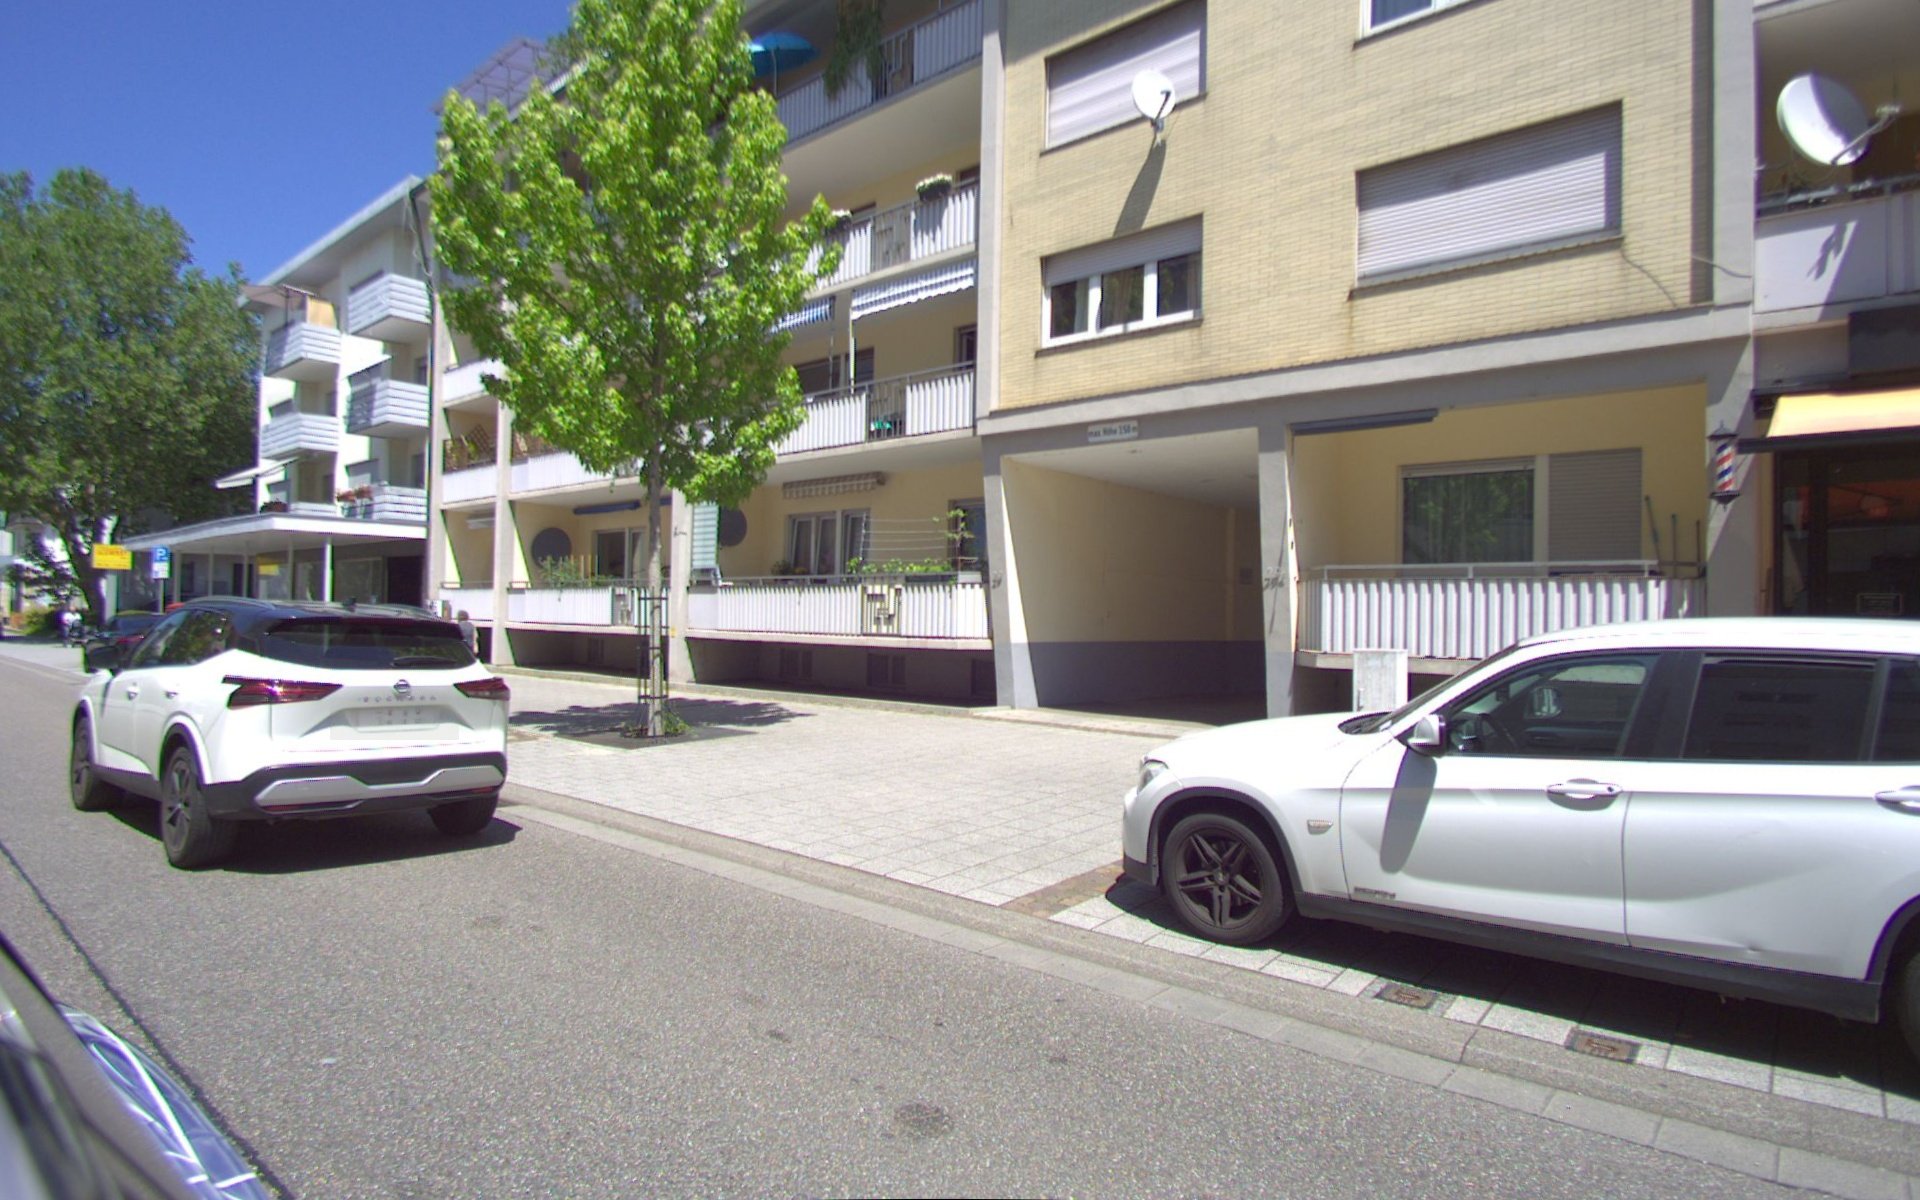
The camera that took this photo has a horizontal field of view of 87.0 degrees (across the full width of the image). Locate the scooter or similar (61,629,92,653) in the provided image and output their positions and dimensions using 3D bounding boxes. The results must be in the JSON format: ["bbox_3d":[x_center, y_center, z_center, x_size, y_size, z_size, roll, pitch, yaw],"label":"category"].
[{"bbox_3d":[-34.902,1.611,39.972,0.737,0.932,0.635,0,-2,18],"label":"scooter or similar"}]

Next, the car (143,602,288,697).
[{"bbox_3d":[-14.594,0.902,19.786,3.369,1.674,1.623,-1,0,41],"label":"car"}]

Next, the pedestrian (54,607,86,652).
[{"bbox_3d":[-35.618,1.178,40.495,0.737,1.806,0.635,0,-2,18],"label":"pedestrian"}]

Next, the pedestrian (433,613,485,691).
[{"bbox_3d":[-10.036,1.028,20.273,0.767,1.510,0.698,2,-3,-38],"label":"pedestrian"}]

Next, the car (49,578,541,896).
[{"bbox_3d":[-4.976,0.782,7.323,4.296,1.645,1.753,-1,-4,40],"label":"car"}]

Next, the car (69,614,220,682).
[{"bbox_3d":[-19.328,1.071,23.950,3.995,1.475,1.974,-1,-1,39],"label":"car"}]

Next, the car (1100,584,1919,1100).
[{"bbox_3d":[2.876,0.757,4.361,4.298,1.604,1.677,-1,0,42],"label":"car"}]

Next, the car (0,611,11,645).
[{"bbox_3d":[-43.996,1.238,45.166,3.998,1.519,1.972,-1,-2,41],"label":"car"}]

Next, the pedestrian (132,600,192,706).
[{"bbox_3d":[-14.050,0.919,17.825,0.668,1.818,0.676,-1,-3,41],"label":"pedestrian"}]
